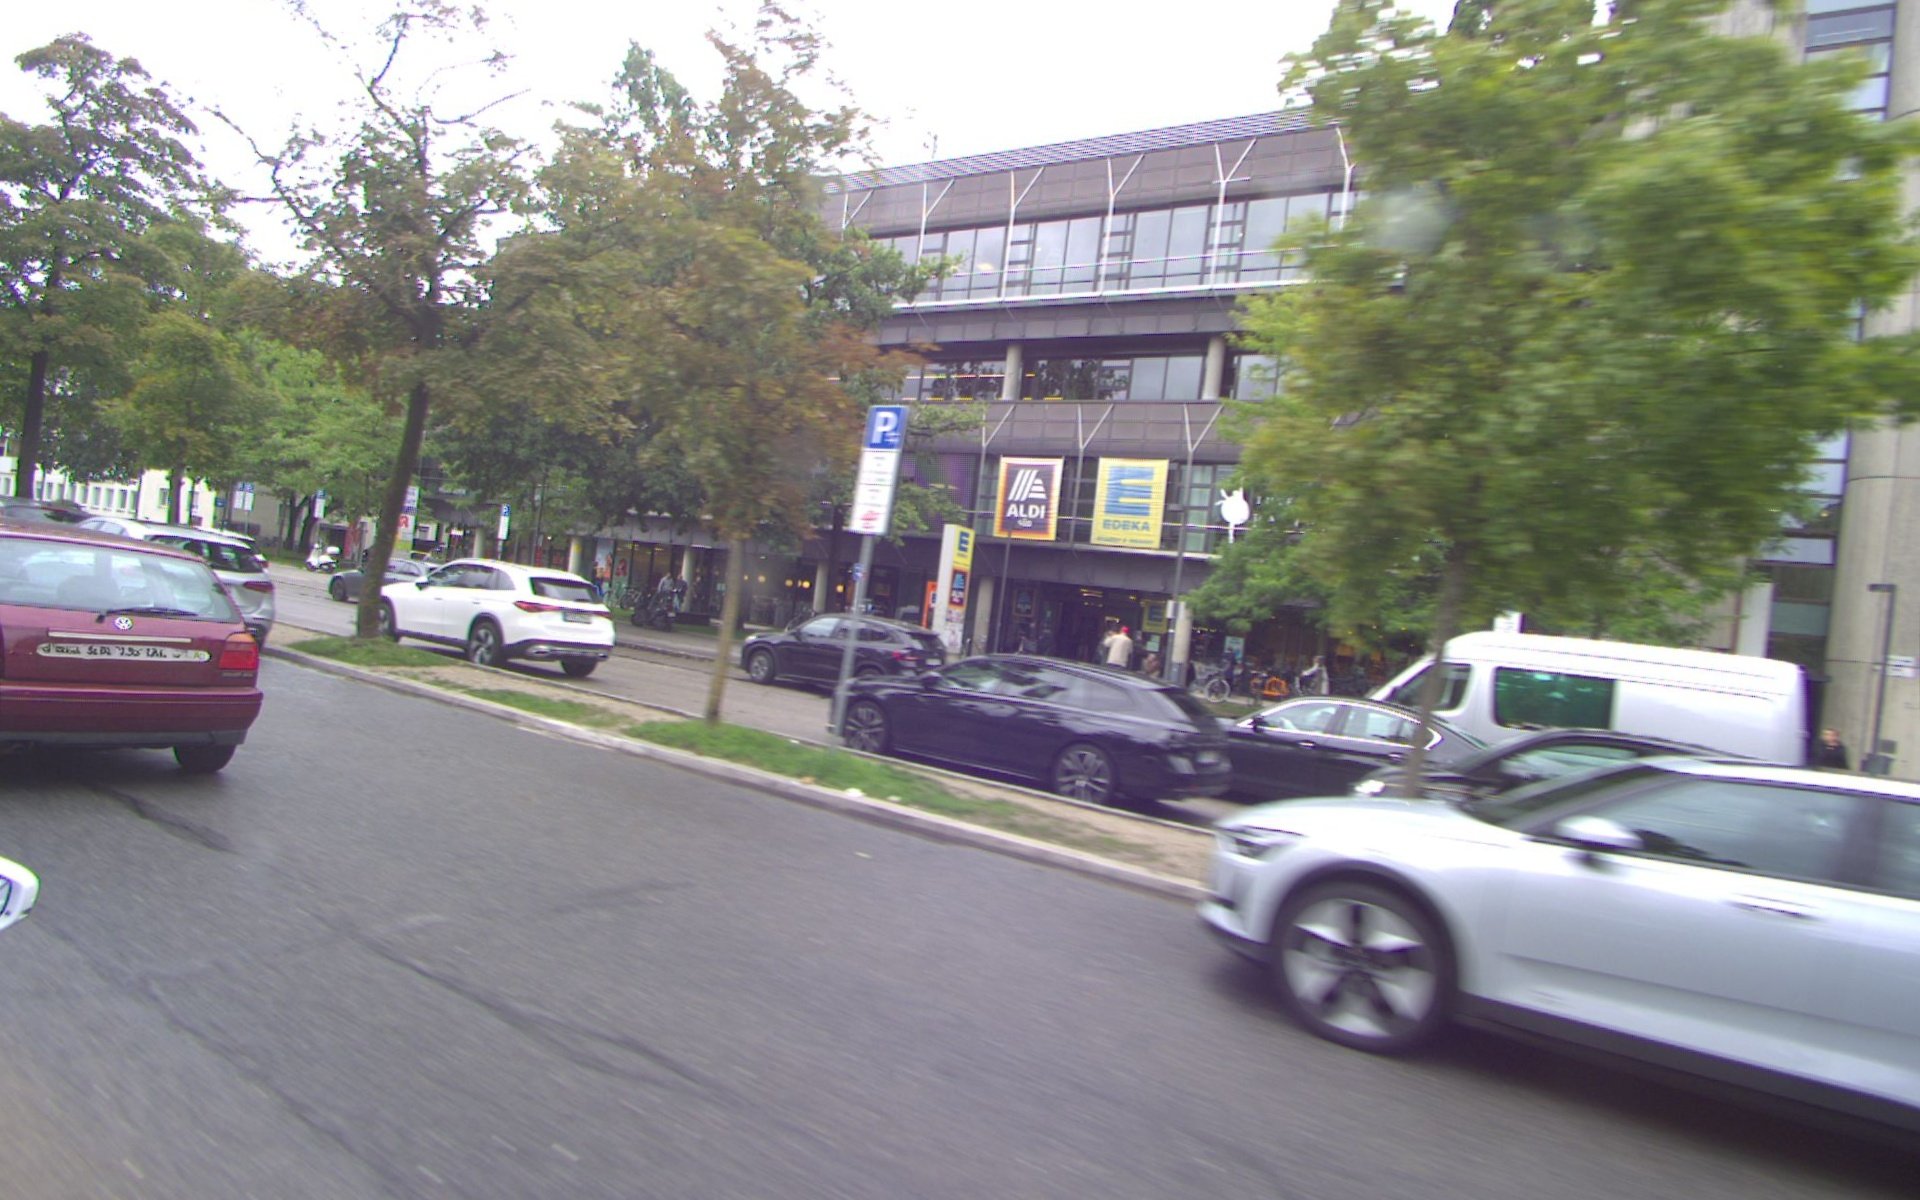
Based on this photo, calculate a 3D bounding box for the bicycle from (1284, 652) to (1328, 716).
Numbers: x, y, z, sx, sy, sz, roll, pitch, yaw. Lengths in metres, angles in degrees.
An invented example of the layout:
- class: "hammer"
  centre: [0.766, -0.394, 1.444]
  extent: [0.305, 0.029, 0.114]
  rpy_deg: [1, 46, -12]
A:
- class: "bicycle"
  centre: [9.292, 2.242, 26.926]
  extent: [0.784, 1.526, 2.618]
  rpy_deg: [7, -1, 23]

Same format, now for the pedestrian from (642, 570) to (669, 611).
- class: "pedestrian"
  centre: [-13.581, -0.416, 44.890]
  extent: [0.686, 1.724, 0.682]
  rpy_deg: [7, -1, 32]

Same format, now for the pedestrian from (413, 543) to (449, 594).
- class: "pedestrian"
  centre: [-19.170, -1.149, 36.445]
  extent: [0.690, 1.727, 0.748]
  rpy_deg: [7, 0, 32]

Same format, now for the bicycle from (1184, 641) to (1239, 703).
- class: "bicycle"
  centre: [6.963, 1.970, 28.015]
  extent: [0.783, 1.526, 2.619]
  rpy_deg: [7, -1, 2]

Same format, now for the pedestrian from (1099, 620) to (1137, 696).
- class: "pedestrian"
  centre: [4.048, 1.475, 25.761]
  extent: [0.668, 1.852, 0.559]
  rpy_deg: [7, 0, 21]

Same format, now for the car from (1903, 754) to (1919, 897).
- class: "car"
  centre: [12.851, 2.799, 10.508]
  extent: [3.943, 1.683, 1.750]
  rpy_deg: [7, -1, 32]

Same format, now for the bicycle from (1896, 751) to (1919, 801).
- class: "bicycle"
  centre: [20.469, 3.749, 21.065]
  extent: [0.734, 0.969, 2.045]
  rpy_deg: [7, -1, 30]

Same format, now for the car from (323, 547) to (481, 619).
- class: "car"
  centre: [-15.806, -0.492, 28.479]
  extent: [4.306, 1.452, 1.688]
  rpy_deg: [7, -1, 27]

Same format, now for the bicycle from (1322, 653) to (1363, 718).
- class: "bicycle"
  centre: [10.111, 2.246, 26.525]
  extent: [0.784, 1.526, 2.618]
  rpy_deg: [7, -1, 23]

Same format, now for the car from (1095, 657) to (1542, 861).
- class: "car"
  centre: [4.244, 1.774, 12.244]
  extent: [4.758, 1.471, 1.687]
  rpy_deg: [7, -1, 32]

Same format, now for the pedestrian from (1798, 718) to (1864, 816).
- class: "pedestrian"
  centre: [14.432, 2.757, 16.688]
  extent: [0.668, 1.495, 0.396]
  rpy_deg: [7, 0, 38]

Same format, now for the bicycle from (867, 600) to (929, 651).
- class: "bicycle"
  centre: [-2.076, 0.899, 34.319]
  extent: [0.784, 1.526, 2.617]
  rpy_deg: [7, -1, 25]

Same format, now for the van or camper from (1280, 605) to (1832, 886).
- class: "van or camper"
  centre: [7.746, 1.735, 13.784]
  extent: [5.858, 2.589, 2.027]
  rpy_deg: [7, 0, 32]

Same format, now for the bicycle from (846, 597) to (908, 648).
- class: "bicycle"
  centre: [-2.825, 0.806, 34.735]
  extent: [0.784, 1.526, 2.617]
  rpy_deg: [7, -1, 25]

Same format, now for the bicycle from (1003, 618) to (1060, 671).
- class: "bicycle"
  centre: [2.341, 1.471, 32.493]
  extent: [0.784, 1.526, 2.617]
  rpy_deg: [7, -1, 25]

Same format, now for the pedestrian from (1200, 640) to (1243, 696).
- class: "pedestrian"
  centre: [8.101, 2.106, 31.158]
  extent: [0.955, 1.598, 0.689]
  rpy_deg: [7, 0, 33]

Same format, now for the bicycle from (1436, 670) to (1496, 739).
- class: "bicycle"
  centre: [12.785, 2.599, 25.499]
  extent: [0.783, 1.526, 2.619]
  rpy_deg: [7, -1, 18]

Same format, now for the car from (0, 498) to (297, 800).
- class: "car"
  centre: [-6.077, 0.094, 6.284]
  extent: [3.884, 1.471, 1.625]
  rpy_deg: [7, -1, 31]

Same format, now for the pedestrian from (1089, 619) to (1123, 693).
- class: "pedestrian"
  centre: [3.830, 1.464, 26.379]
  extent: [0.533, 1.852, 0.678]
  rpy_deg: [7, 0, 20]

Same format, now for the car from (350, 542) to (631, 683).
- class: "car"
  centre: [-7.672, 0.170, 16.281]
  extent: [4.701, 1.652, 1.687]
  rpy_deg: [7, -1, 32]

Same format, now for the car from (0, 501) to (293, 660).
- class: "car"
  centre: [-11.012, -0.303, 13.495]
  extent: [4.383, 1.542, 1.688]
  rpy_deg: [7, -2, 33]

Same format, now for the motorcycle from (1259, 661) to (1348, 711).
- class: "motorcycle"
  centre: [10.623, 2.643, 31.123]
  extent: [2.329, 1.211, 0.947]
  rpy_deg: [7, -1, 32]

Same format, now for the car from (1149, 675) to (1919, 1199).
- class: "car"
  centre: [3.307, 1.417, 4.383]
  extent: [4.436, 1.470, 1.711]
  rpy_deg: [7, -3, 30]

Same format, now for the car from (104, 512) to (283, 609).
- class: "car"
  centre: [-16.743, -0.883, 21.926]
  extent: [3.961, 1.604, 1.687]
  rpy_deg: [7, -1, 32]

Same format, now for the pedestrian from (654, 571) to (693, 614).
- class: "pedestrian"
  centre: [-12.664, -0.329, 44.499]
  extent: [1.029, 1.723, 1.018]
  rpy_deg: [7, -2, 32]

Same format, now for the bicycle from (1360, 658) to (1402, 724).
- class: "bicycle"
  centre: [10.949, 2.346, 26.197]
  extent: [0.784, 1.526, 2.618]
  rpy_deg: [7, -1, 23]

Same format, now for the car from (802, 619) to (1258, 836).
- class: "car"
  centre: [0.637, 1.253, 11.060]
  extent: [4.658, 1.471, 1.686]
  rpy_deg: [7, -1, 34]

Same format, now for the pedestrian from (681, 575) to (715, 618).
- class: "pedestrian"
  centre: [-11.416, -0.155, 43.807]
  extent: [0.785, 1.724, 0.965]
  rpy_deg: [7, -1, 32]

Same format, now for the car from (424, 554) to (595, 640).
- class: "car"
  centre: [-11.670, -0.097, 25.980]
  extent: [4.309, 1.652, 1.687]
  rpy_deg: [7, -1, 30]

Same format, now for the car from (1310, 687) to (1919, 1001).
- class: "car"
  centre: [5.144, 1.743, 8.182]
  extent: [3.943, 1.471, 1.687]
  rpy_deg: [7, -1, 32]

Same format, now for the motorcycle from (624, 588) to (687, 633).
- class: "motorcycle"
  centre: [-9.267, 0.307, 30.581]
  extent: [2.017, 1.156, 0.605]
  rpy_deg: [7, 3, 32]

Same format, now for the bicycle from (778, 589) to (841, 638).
- class: "bicycle"
  centre: [-5.411, 0.506, 36.339]
  extent: [0.784, 1.526, 2.617]
  rpy_deg: [7, -1, 25]

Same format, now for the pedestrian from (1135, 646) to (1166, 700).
- class: "pedestrian"
  centre: [4.951, 1.891, 26.119]
  extent: [0.541, 1.329, 0.559]
  rpy_deg: [7, 0, 21]

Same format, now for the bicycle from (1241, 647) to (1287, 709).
- class: "bicycle"
  centre: [8.296, 2.118, 27.363]
  extent: [0.784, 1.526, 2.618]
  rpy_deg: [7, -1, 23]

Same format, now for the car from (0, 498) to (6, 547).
- class: "car"
  centre: [-19.999, -1.374, 19.092]
  extent: [4.236, 1.572, 1.686]
  rpy_deg: [7, -1, 33]

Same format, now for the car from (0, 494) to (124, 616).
- class: "car"
  centre: [-15.511, -0.869, 16.302]
  extent: [4.236, 1.644, 1.687]
  rpy_deg: [7, -2, 33]

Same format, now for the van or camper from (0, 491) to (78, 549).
- class: "van or camper"
  centre: [-39.171, -3.411, 42.264]
  extent: [4.236, 1.998, 1.947]
  rpy_deg: [7, -1, 33]

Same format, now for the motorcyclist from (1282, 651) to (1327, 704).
- class: "motorcyclist"
  centre: [10.661, 2.395, 31.128]
  extent: [0.968, 1.494, 0.943]
  rpy_deg: [7, 0, 32]

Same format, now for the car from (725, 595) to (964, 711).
- class: "car"
  centre: [-2.339, 1.022, 19.954]
  extent: [4.422, 1.652, 1.687]
  rpy_deg: [7, -1, 30]
